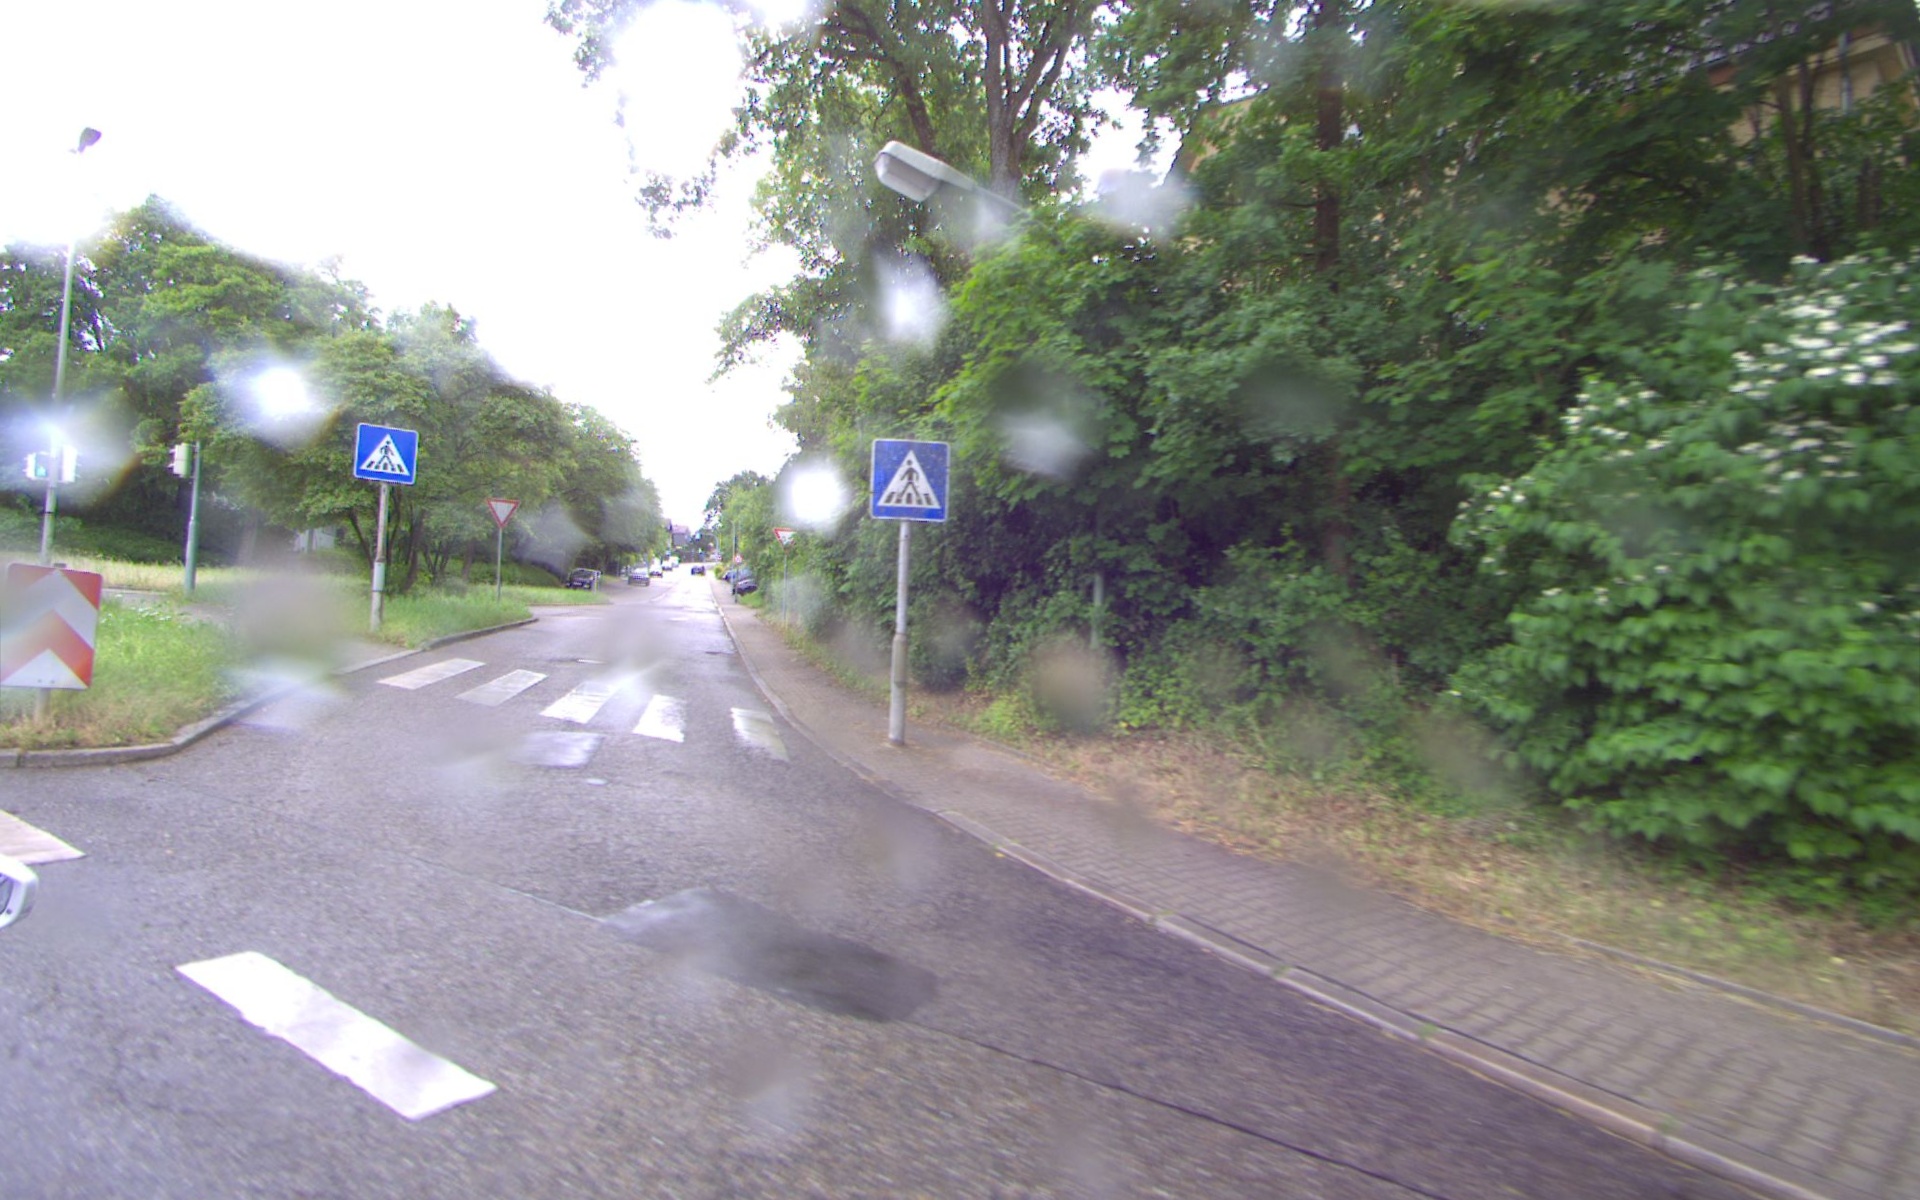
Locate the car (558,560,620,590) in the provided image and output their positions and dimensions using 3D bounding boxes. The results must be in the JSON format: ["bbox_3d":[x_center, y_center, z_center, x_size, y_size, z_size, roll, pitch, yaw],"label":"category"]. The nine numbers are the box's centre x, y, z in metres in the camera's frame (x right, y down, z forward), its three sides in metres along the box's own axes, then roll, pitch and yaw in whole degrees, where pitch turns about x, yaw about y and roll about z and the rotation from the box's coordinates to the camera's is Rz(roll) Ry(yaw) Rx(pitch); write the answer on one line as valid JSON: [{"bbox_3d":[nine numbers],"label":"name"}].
[{"bbox_3d":[-24.652,-1.614,66.943,1.793,1.590,4.001,6,-1,15],"label":"car"}]

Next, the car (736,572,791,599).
[{"bbox_3d":[-15.280,-1.145,78.221,3.937,1.668,1.951,6,0,-15],"label":"car"}]

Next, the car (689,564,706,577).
[{"bbox_3d":[-37.936,-4.309,145.262,1.918,1.474,4.201,8,-2,-19],"label":"car"}]

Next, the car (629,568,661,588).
[{"bbox_3d":[-29.194,-2.011,93.232,1.672,1.462,4.002,7,-2,-2],"label":"car"}]
